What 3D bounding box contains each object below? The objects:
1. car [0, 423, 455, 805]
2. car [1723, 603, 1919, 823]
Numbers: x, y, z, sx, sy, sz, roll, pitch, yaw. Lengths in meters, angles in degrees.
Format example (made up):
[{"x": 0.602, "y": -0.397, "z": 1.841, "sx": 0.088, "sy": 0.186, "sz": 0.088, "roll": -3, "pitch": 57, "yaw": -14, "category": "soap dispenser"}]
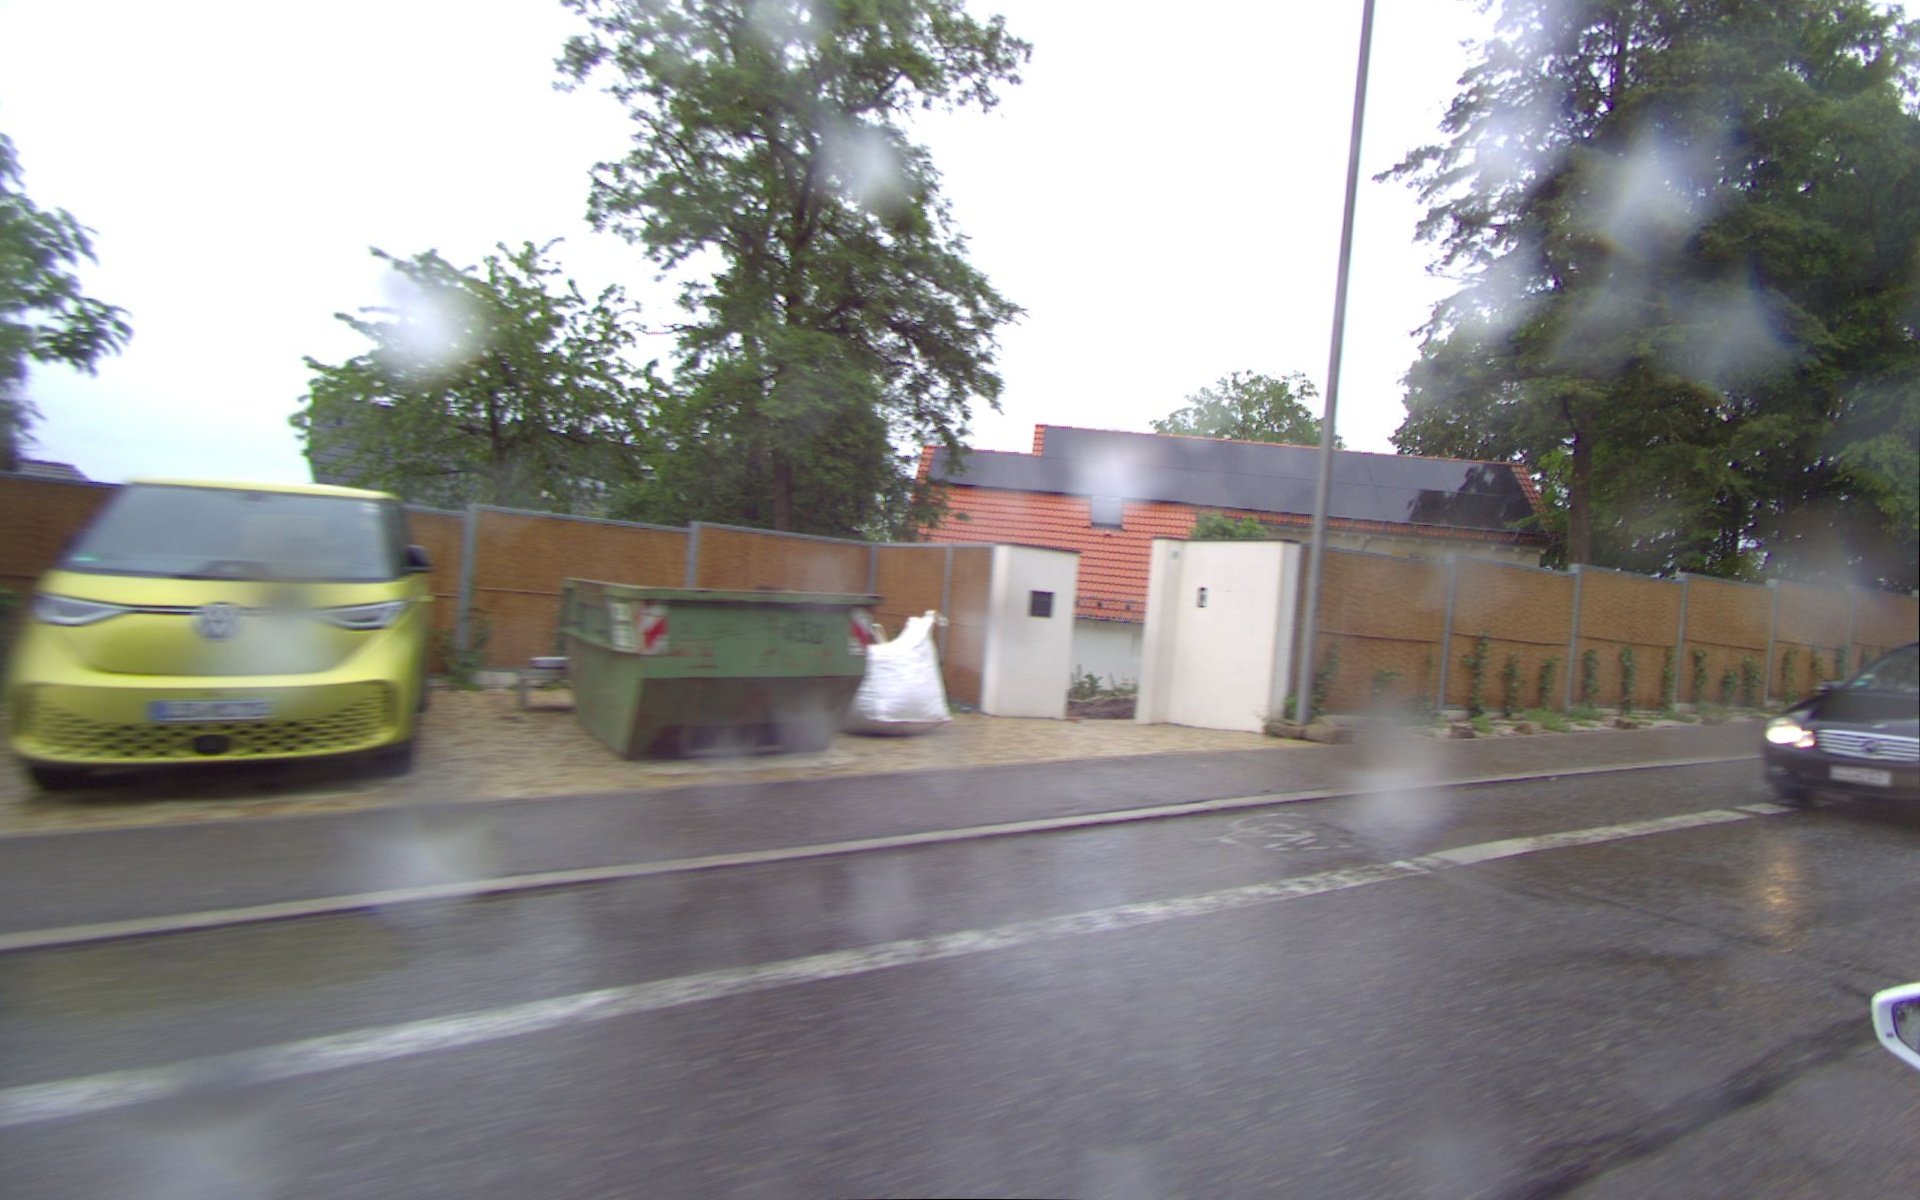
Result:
[{"x": -4.912, "y": 0.023, "z": 7.399, "sx": 2.063, "sy": 1.885, "sz": 4.485, "roll": 1, "pitch": 1, "yaw": -27, "category": "car"}, {"x": 8.582, "y": 0.884, "z": 8.462, "sx": 4.117, "sy": 1.532, "sz": 1.827, "roll": 2, "pitch": 1, "yaw": -28, "category": "car"}]
